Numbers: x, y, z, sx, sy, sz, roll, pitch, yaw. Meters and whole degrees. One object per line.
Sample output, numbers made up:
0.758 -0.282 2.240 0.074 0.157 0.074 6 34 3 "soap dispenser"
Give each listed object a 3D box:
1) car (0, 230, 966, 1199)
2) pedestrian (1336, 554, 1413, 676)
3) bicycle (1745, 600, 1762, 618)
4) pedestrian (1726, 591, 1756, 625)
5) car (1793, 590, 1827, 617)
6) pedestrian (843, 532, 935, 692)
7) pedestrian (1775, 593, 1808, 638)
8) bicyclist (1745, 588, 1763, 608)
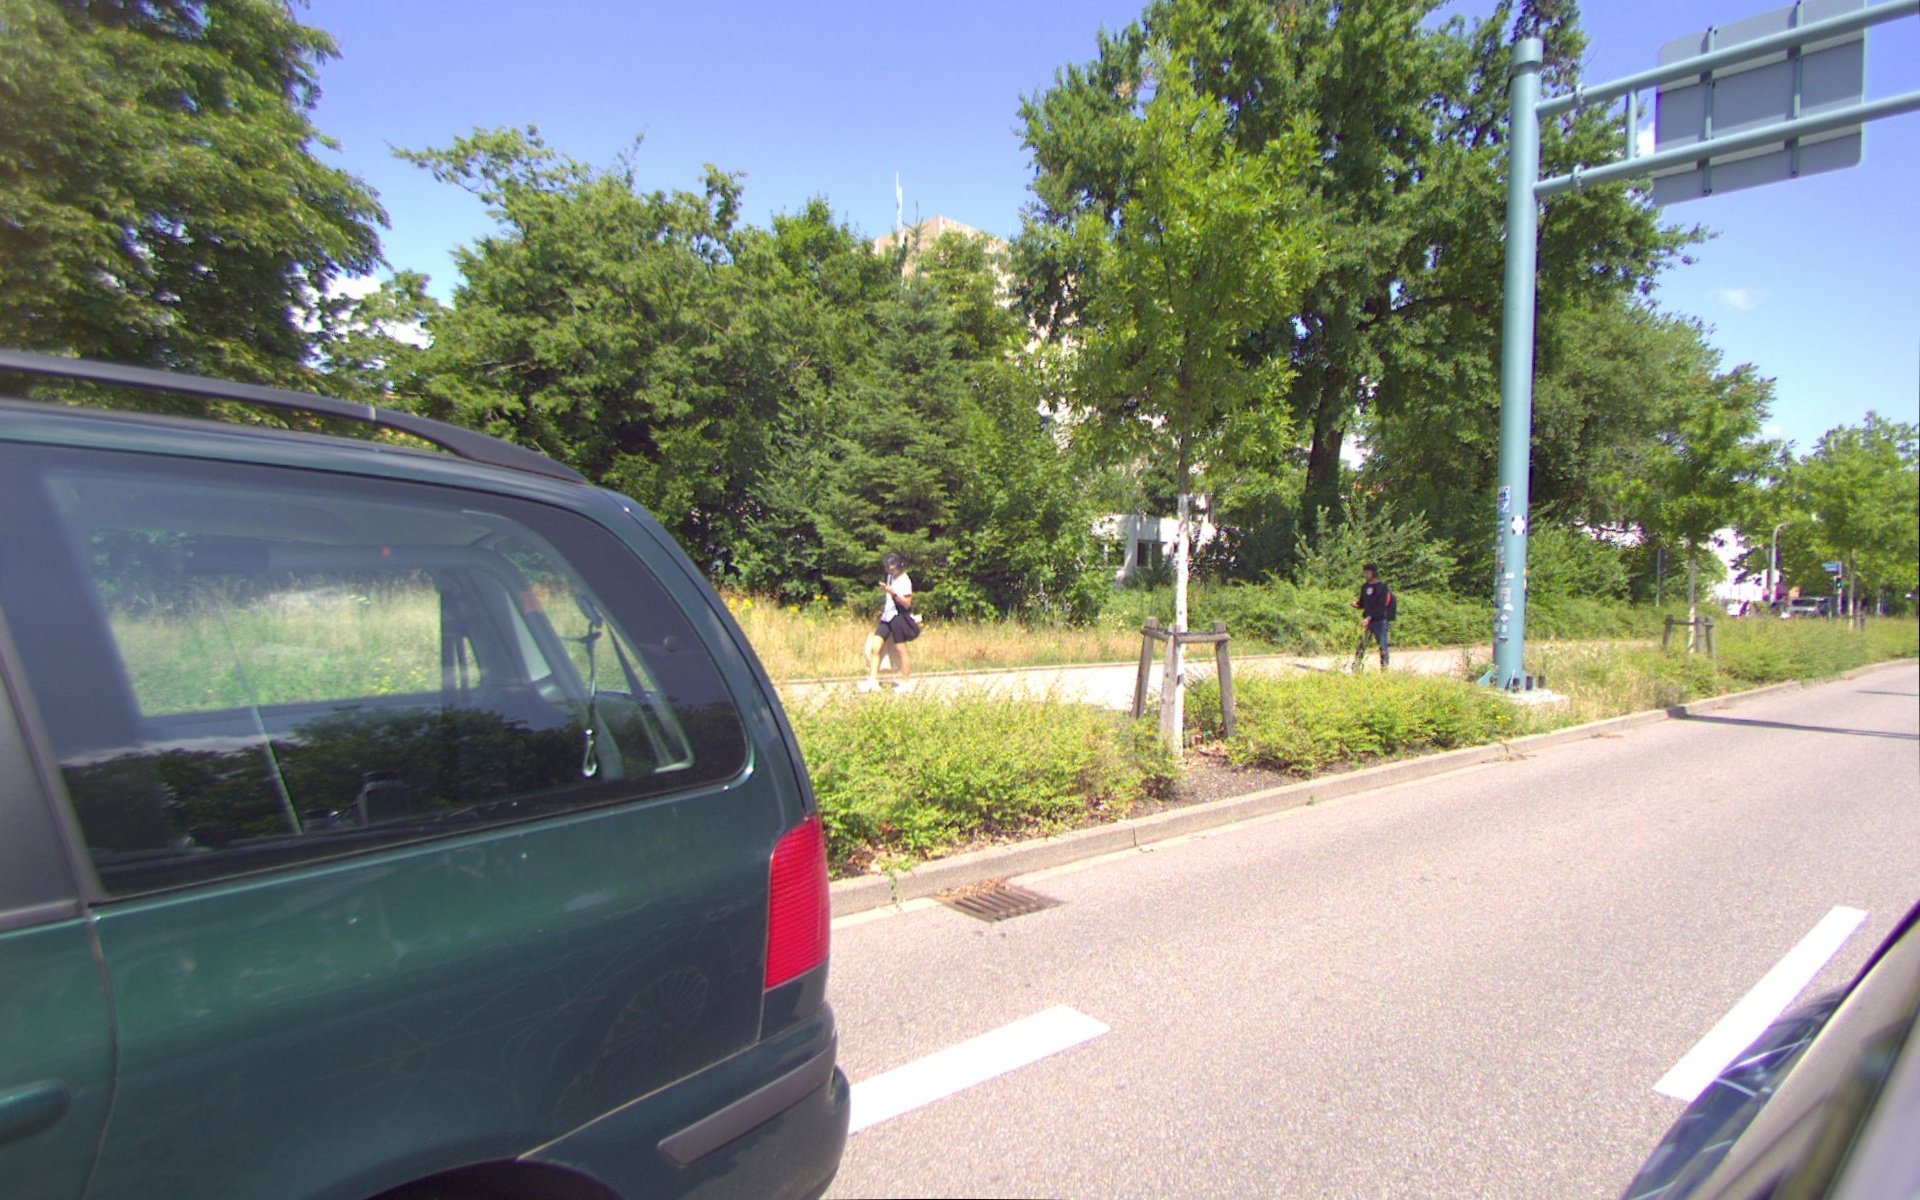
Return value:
-2.210 0.515 1.007 4.311 1.756 1.815 1 0 -41 "car"
6.138 0.202 14.985 0.822 1.743 0.718 1 1 -39 "pedestrian"
57.612 0.634 73.455 0.881 1.267 2.134 1 1 40 "bicycle"
43.618 0.435 56.498 0.952 1.896 0.880 1 0 -7 "pedestrian"
68.508 0.266 81.587 1.992 2.080 4.166 2 1 41 "car"
-0.811 0.124 11.526 0.733 1.743 0.724 1 1 -39 "pedestrian"
32.726 0.603 39.844 0.913 1.743 0.815 1 1 -39 "pedestrian"
57.596 -0.140 73.404 0.968 1.462 1.061 1 1 41 "bicyclist"
